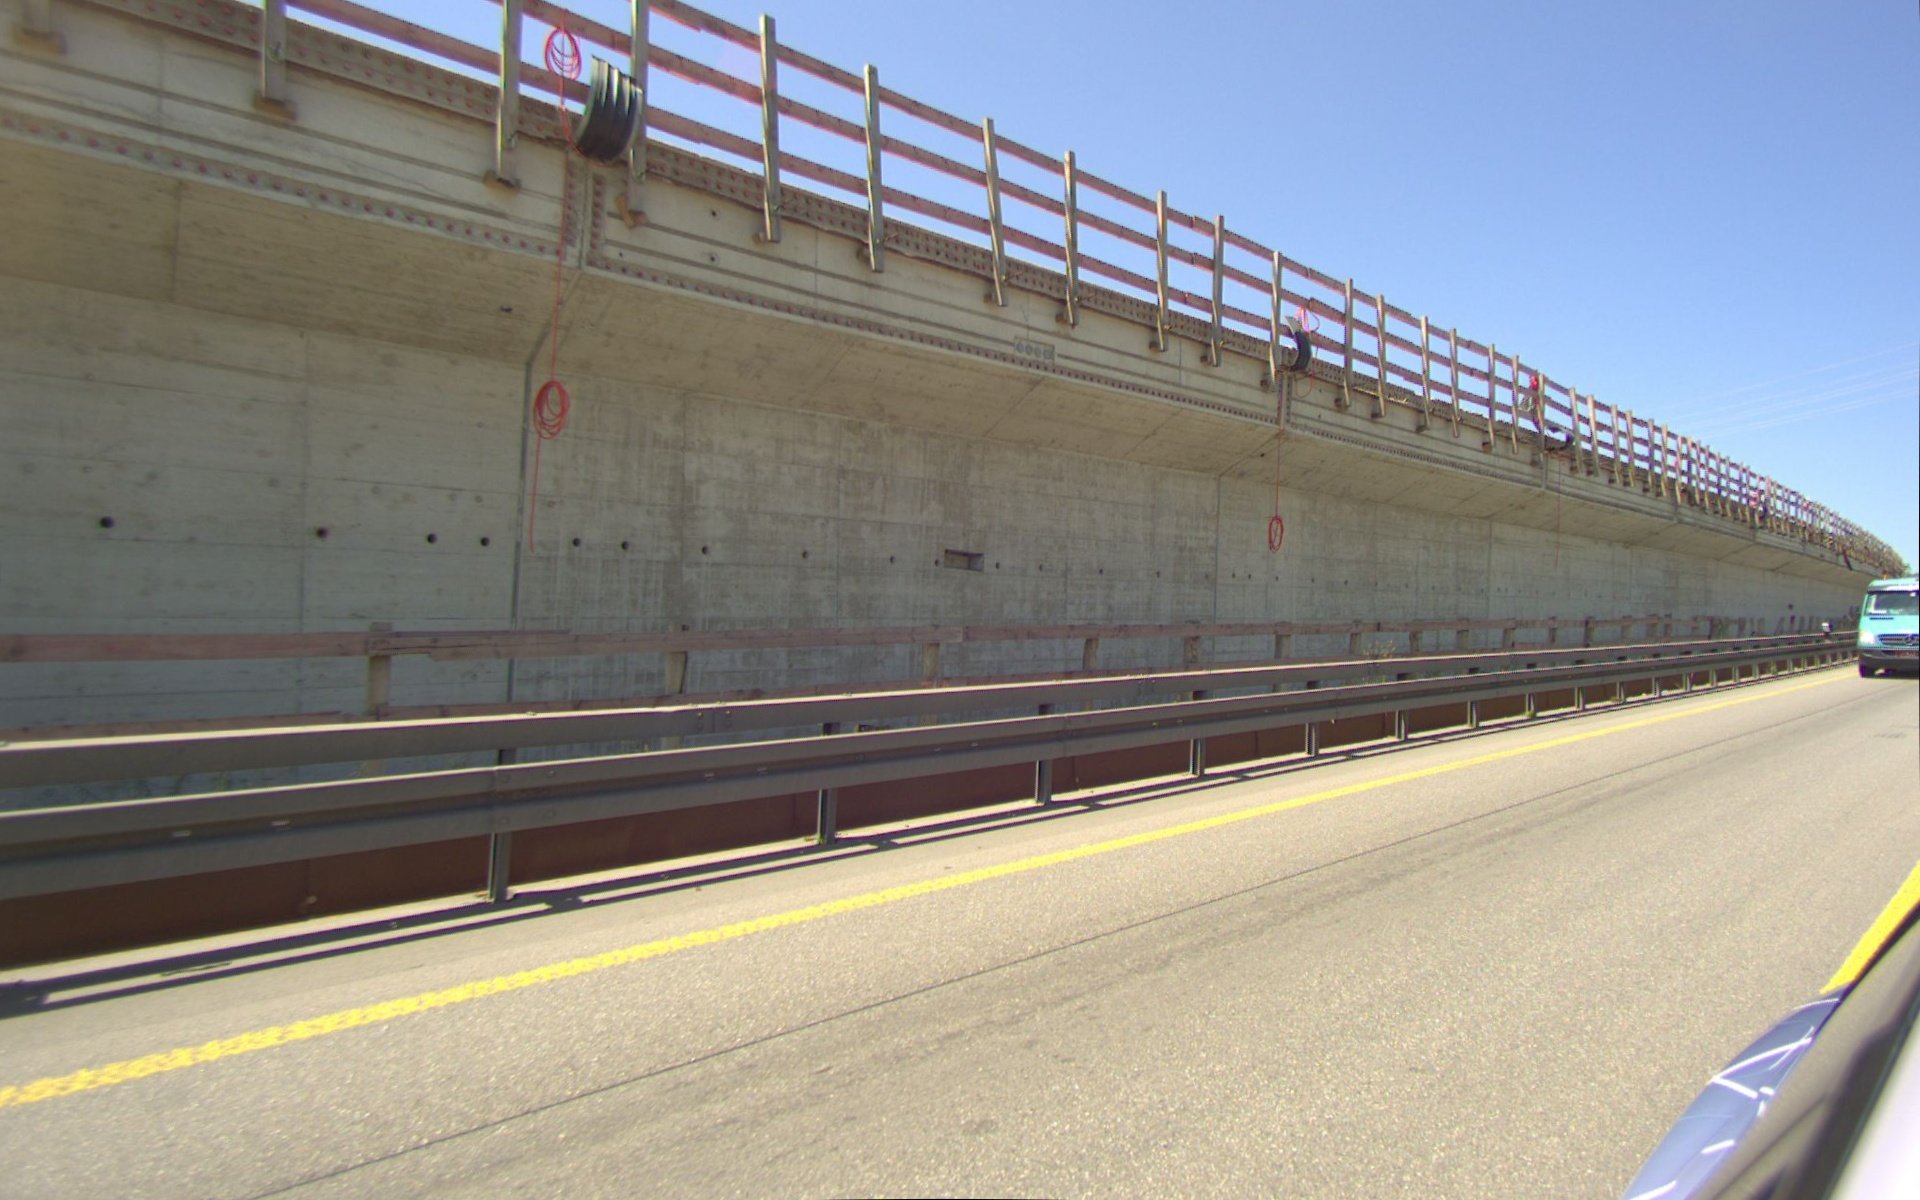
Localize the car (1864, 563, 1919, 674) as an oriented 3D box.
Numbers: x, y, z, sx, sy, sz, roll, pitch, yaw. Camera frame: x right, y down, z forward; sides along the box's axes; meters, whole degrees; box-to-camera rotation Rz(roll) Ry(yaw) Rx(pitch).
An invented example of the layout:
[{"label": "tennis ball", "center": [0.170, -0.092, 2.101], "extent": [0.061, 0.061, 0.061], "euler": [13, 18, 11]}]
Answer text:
[{"label": "car", "center": [23.760, 0.404, 24.381], "extent": [7.083, 2.411, 1.966], "euler": [0, -2, -41]}]
